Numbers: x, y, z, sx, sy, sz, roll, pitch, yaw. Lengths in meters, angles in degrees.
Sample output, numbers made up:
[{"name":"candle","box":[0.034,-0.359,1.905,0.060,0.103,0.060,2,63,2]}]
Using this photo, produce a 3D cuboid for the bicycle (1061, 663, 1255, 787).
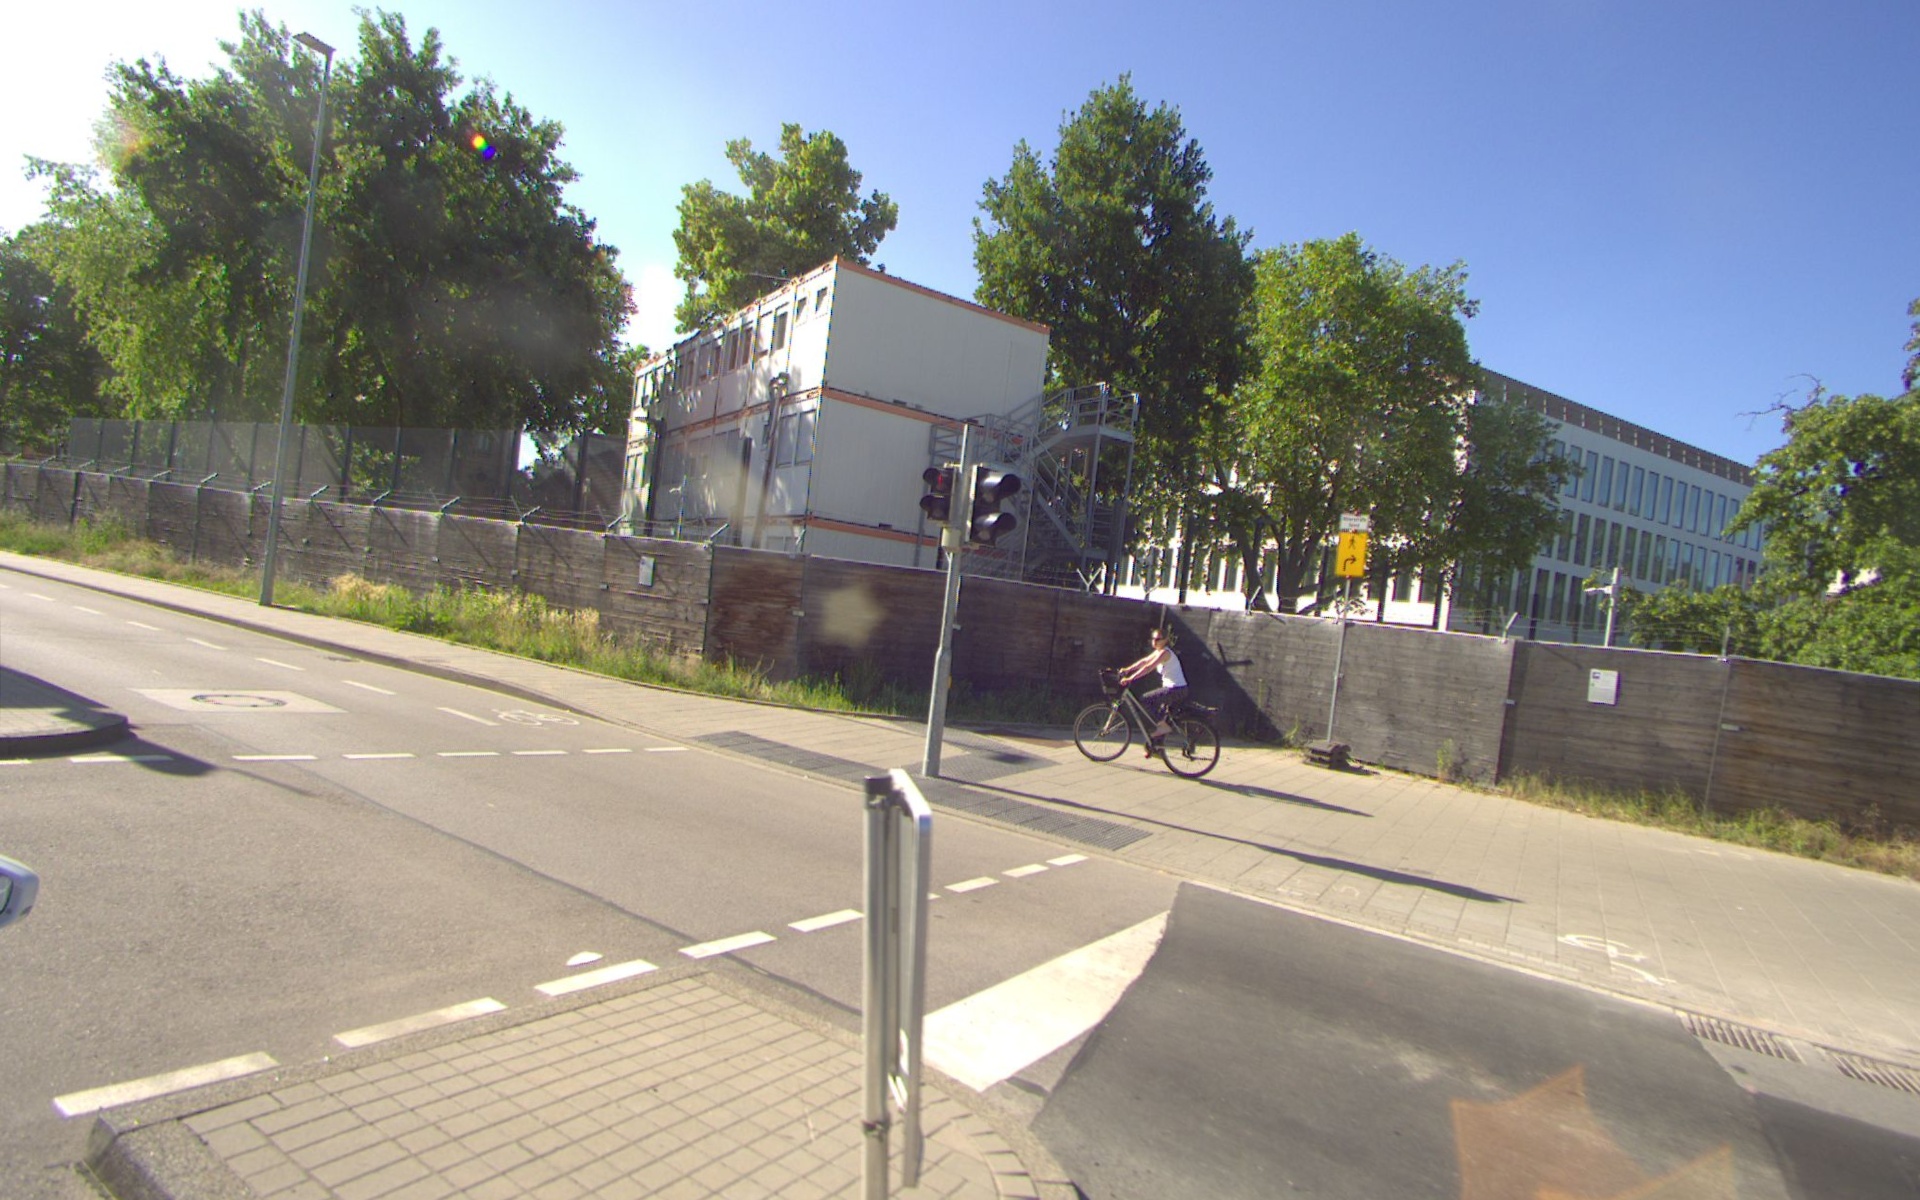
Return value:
[{"name":"bicycle","box":[2.336,1.445,11.927,2.085,1.127,0.603,6,2,21]}]

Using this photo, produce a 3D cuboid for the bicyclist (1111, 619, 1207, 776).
[{"name":"bicyclist","box":[2.364,1.127,11.900,0.836,1.694,0.743,7,1,20]}]
